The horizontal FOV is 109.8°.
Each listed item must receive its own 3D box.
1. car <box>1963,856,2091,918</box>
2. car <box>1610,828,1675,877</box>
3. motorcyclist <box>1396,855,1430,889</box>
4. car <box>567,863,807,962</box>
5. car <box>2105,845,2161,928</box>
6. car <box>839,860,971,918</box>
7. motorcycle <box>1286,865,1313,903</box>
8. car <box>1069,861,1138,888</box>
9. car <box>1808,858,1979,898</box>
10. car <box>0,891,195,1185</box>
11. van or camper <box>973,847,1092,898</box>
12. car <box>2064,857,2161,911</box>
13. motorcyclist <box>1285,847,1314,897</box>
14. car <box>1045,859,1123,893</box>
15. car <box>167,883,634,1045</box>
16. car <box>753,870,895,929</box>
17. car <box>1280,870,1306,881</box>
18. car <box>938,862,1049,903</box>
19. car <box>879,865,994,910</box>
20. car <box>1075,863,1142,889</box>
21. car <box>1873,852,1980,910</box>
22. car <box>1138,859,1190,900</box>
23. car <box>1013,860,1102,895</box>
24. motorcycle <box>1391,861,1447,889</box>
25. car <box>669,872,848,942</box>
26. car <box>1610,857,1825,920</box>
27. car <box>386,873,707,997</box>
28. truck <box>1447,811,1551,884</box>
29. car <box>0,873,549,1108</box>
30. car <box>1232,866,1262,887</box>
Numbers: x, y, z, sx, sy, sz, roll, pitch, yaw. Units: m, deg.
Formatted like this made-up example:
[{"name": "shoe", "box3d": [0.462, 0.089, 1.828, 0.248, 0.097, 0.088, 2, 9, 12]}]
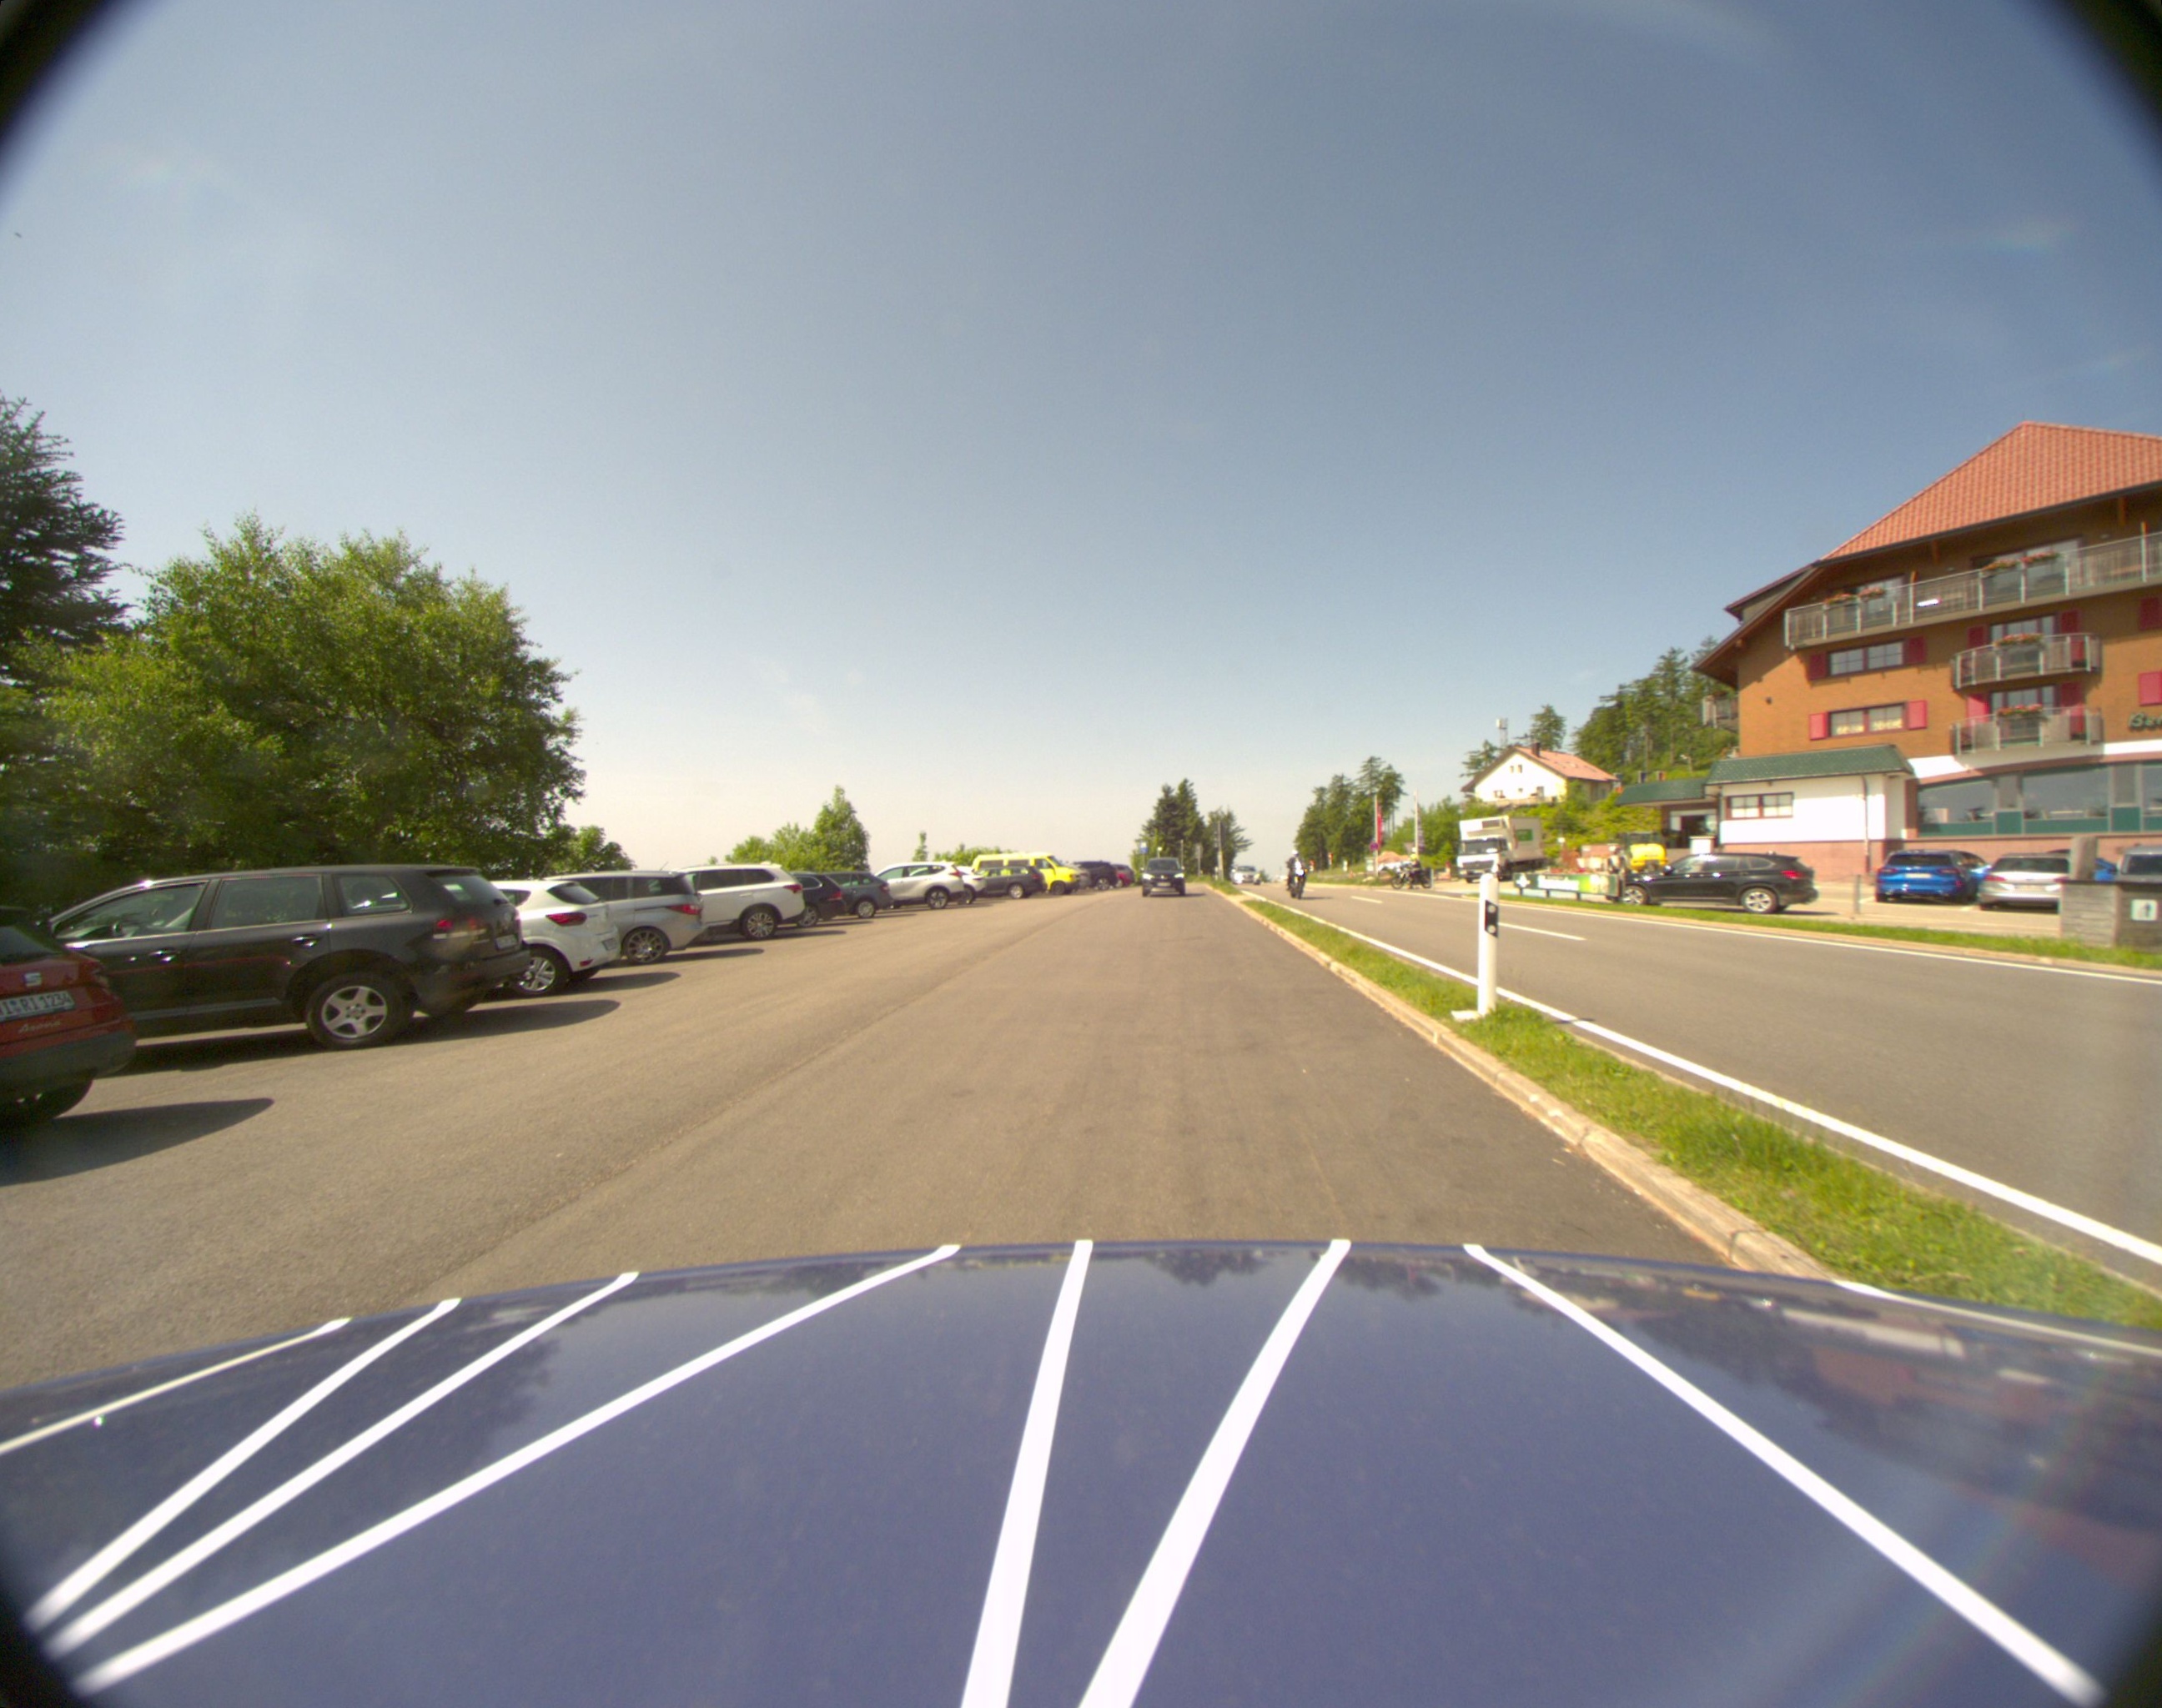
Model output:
[{"name": "car", "box3d": [25.752, 0.861, 20.660, 4.008, 1.536, 1.995, 1, -1, -36]}, {"name": "car", "box3d": [30.253, -0.036, 41.061, 1.995, 2.481, 4.008, 0, -1, 24]}, {"name": "motorcyclist", "box3d": [17.142, 0.897, 39.233, 1.247, 1.710, 1.064, -1, 1, -3]}, {"name": "car", "box3d": [-8.256, 1.146, 16.156, 4.233, 1.684, 1.860, -2, 0, -30]}, {"name": "car", "box3d": [25.916, 0.755, 18.020, 4.539, 1.852, 1.831, 1, -1, -35]}, {"name": "car", "box3d": [-6.033, 1.166, 26.264, 4.186, 1.640, 1.890, -3, 0, -12]}, {"name": "motorcycle", "box3d": [7.792, 1.041, 27.183, 0.877, 1.249, 2.279, -1, 0, 15]}, {"name": "car", "box3d": [1.487, 1.324, 49.943, 4.407, 1.559, 1.908, -2, -1, 2]}, {"name": "car", "box3d": [28.871, 0.827, 27.129, 1.717, 1.289, 3.990, 1, -1, -36]}, {"name": "car", "box3d": [-7.992, 1.143, 3.920, 4.002, 1.580, 1.861, -3, 0, -18]}, {"name": "van or camper", "box3d": [-2.242, 0.870, 35.300, 5.098, 2.001, 1.884, -3, -2, 12]}, {"name": "car", "box3d": [30.856, 0.864, 22.514, 4.009, 1.474, 1.930, 1, -1, -40]}, {"name": "motorcyclist", "box3d": [7.755, 0.622, 27.026, 0.924, 1.708, 1.453, -1, 1, 15]}, {"name": "car", "box3d": [0.197, 1.168, 40.554, 3.996, 1.604, 1.917, -2, -1, 2]}, {"name": "car", "box3d": [-8.271, 1.258, 9.738, 4.002, 1.467, 1.765, -3, 1, -18]}, {"name": "car", "box3d": [-7.564, 1.311, 22.678, 3.808, 1.450, 1.661, -3, 0, -15]}, {"name": "car", "box3d": [42.561, 4.306, 152.516, 4.724, 1.870, 1.934, 3, -1, 10]}, {"name": "car", "box3d": [-3.691, 1.202, 32.537, 4.360, 1.478, 1.813, -3, -2, 3]}, {"name": "car", "box3d": [-5.454, 1.242, 29.176, 4.098, 1.491, 1.943, -2, 0, -5]}, {"name": "car", "box3d": [1.672, 1.357, 47.409, 3.998, 1.500, 1.842, -1, -2, -2]}, {"name": "car", "box3d": [26.595, 0.790, 23.859, 4.554, 1.654, 1.934, 0, 0, -38]}, {"name": "car", "box3d": [3.520, 1.014, 31.687, 1.983, 1.607, 4.153, -1, -1, 8]}, {"name": "car", "box3d": [-1.158, 1.174, 38.270, 4.158, 1.579, 1.706, -2, -1, 11]}, {"name": "motorcycle", "box3d": [17.439, 1.074, 39.224, 2.443, 1.398, 1.006, -1, 1, -3]}, {"name": "car", "box3d": [-8.308, 1.311, 19.876, 4.055, 1.452, 1.892, -3, 0, -21]}, {"name": "car", "box3d": [17.054, 0.865, 20.548, 1.811, 1.531, 4.181, 1, -1, -37]}, {"name": "car", "box3d": [-8.475, 1.203, 12.557, 4.004, 1.540, 1.817, -3, 0, -25]}, {"name": "truck", "box3d": [25.434, -0.443, 45.962, 3.062, 3.948, 8.789, -4, -1, 45]}, {"name": "car", "box3d": [-8.034, 1.159, 7.339, 4.276, 1.684, 1.988, -3, 0, -19]}, {"name": "car", "box3d": [11.902, 1.582, 54.762, 1.779, 1.448, 4.003, 0, -1, 7]}]
